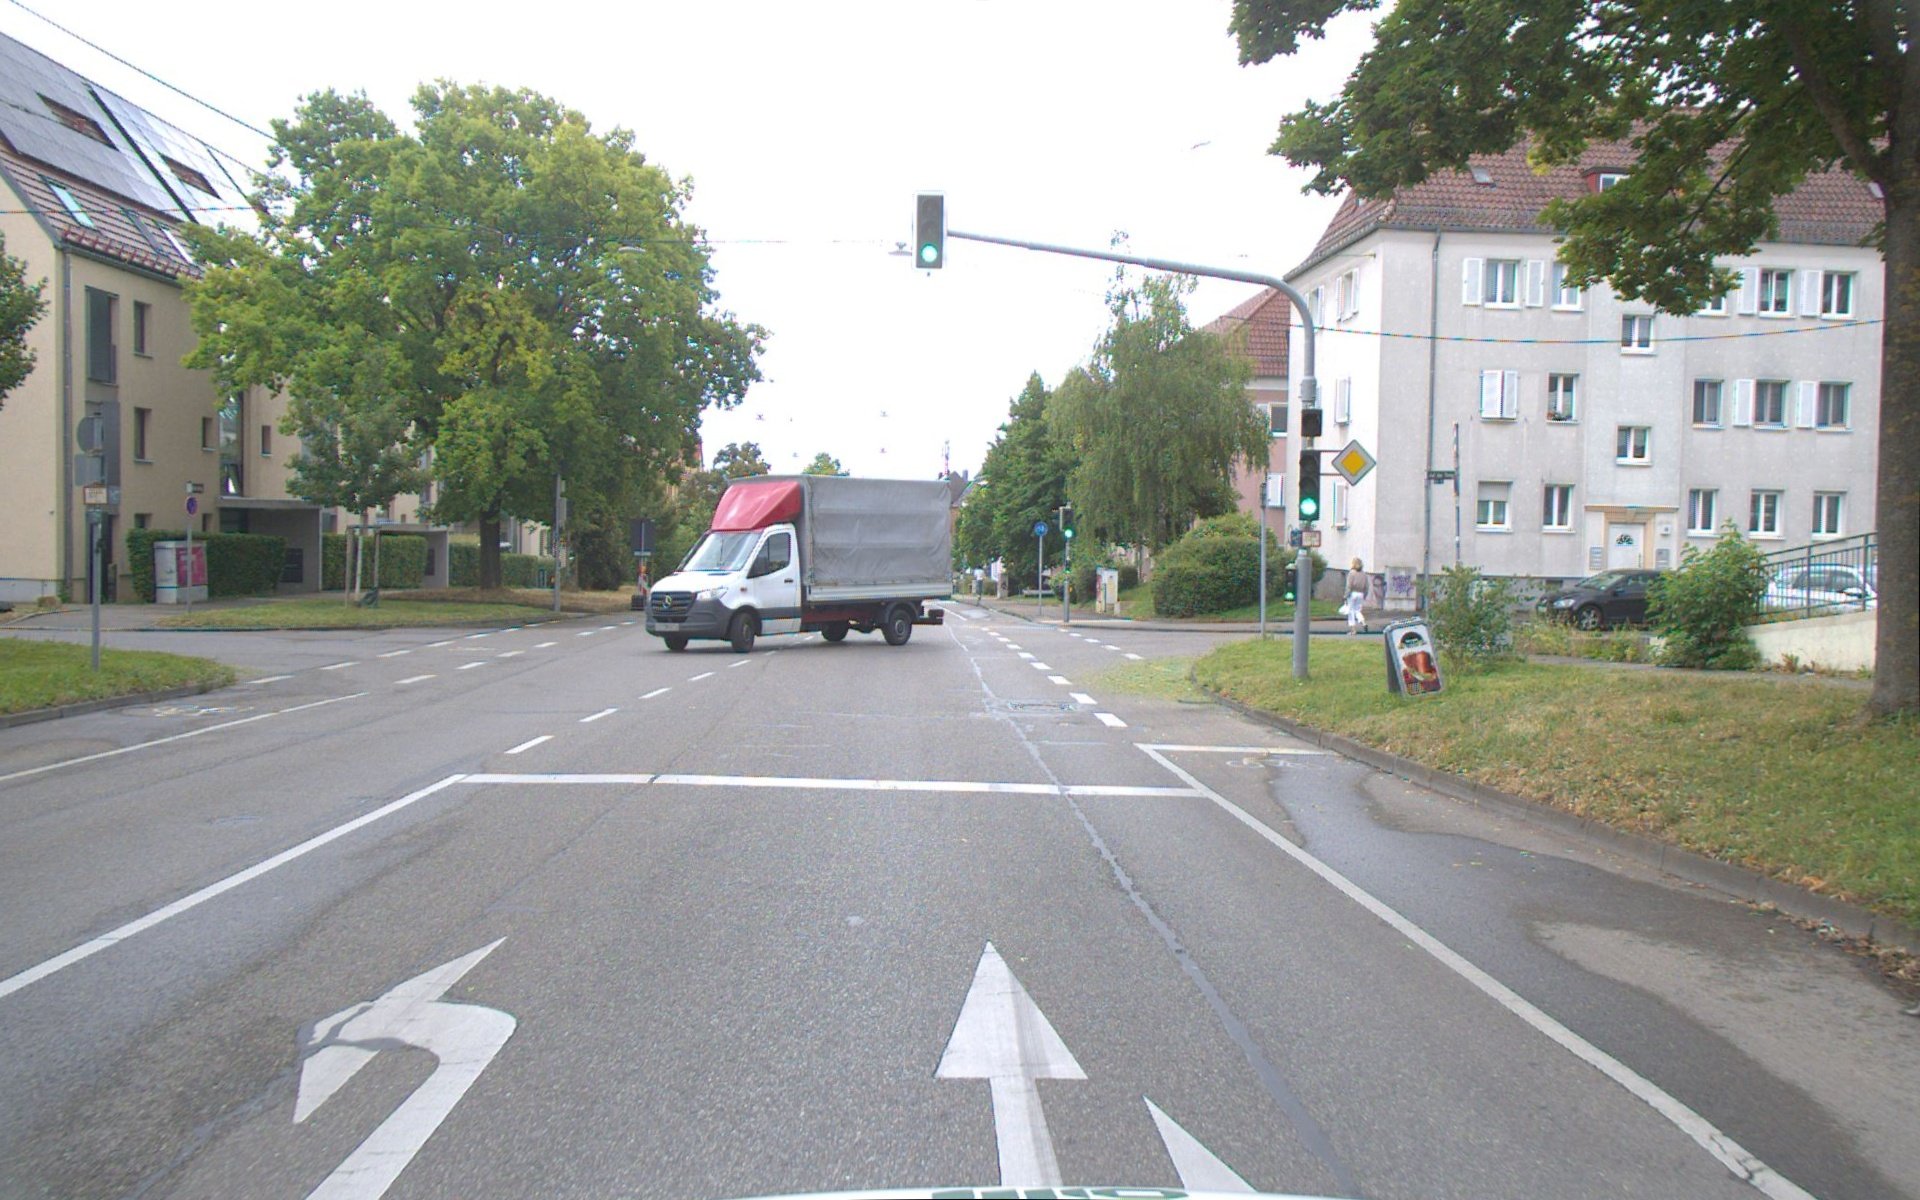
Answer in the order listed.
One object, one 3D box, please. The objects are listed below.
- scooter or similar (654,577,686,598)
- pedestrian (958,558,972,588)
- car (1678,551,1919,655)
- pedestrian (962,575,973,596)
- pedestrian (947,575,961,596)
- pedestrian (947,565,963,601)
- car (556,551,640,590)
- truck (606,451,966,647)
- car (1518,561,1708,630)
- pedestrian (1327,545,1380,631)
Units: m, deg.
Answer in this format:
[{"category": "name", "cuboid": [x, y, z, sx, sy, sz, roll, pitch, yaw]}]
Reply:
[{"category": "scooter or similar", "cuboid": [-15.866, -0.697, 90.535, 1.662, 1.101, 0.745, 1, 0, -11]}, {"category": "pedestrian", "cuboid": [0.389, -2.062, 124.867, 0.970, 2.246, 0.937, 1, 0, -5]}, {"category": "car", "cuboid": [13.434, 0.031, 26.440, 1.833, 1.498, 3.995, 1, 0, -6]}, {"category": "pedestrian", "cuboid": [0.696, -1.311, 149.720, 0.903, 1.841, 1.101, 1, 0, -2]}, {"category": "pedestrian", "cuboid": [-0.540, -1.343, 149.616, 1.176, 1.841, 1.300, 1, 0, -2]}, {"category": "pedestrian", "cuboid": [-0.316, -1.107, 107.321, 0.969, 2.246, 0.938, 1, 0, 0]}, {"category": "car", "cuboid": [-16.257, -1.311, 74.421, 3.381, 1.624, 1.998, 1, 0, -4]}, {"category": "truck", "cuboid": [-3.144, -0.906, 31.869, 2.493, 3.364, 7.213, 2, 1, 40]}, {"category": "car", "cuboid": [16.122, -0.113, 40.964, 3.905, 1.563, 2.000, 2, 0, 0]}, {"category": "pedestrian", "cuboid": [8.872, -0.287, 37.320, 0.736, 1.887, 0.950, -2, 1, -17]}]
